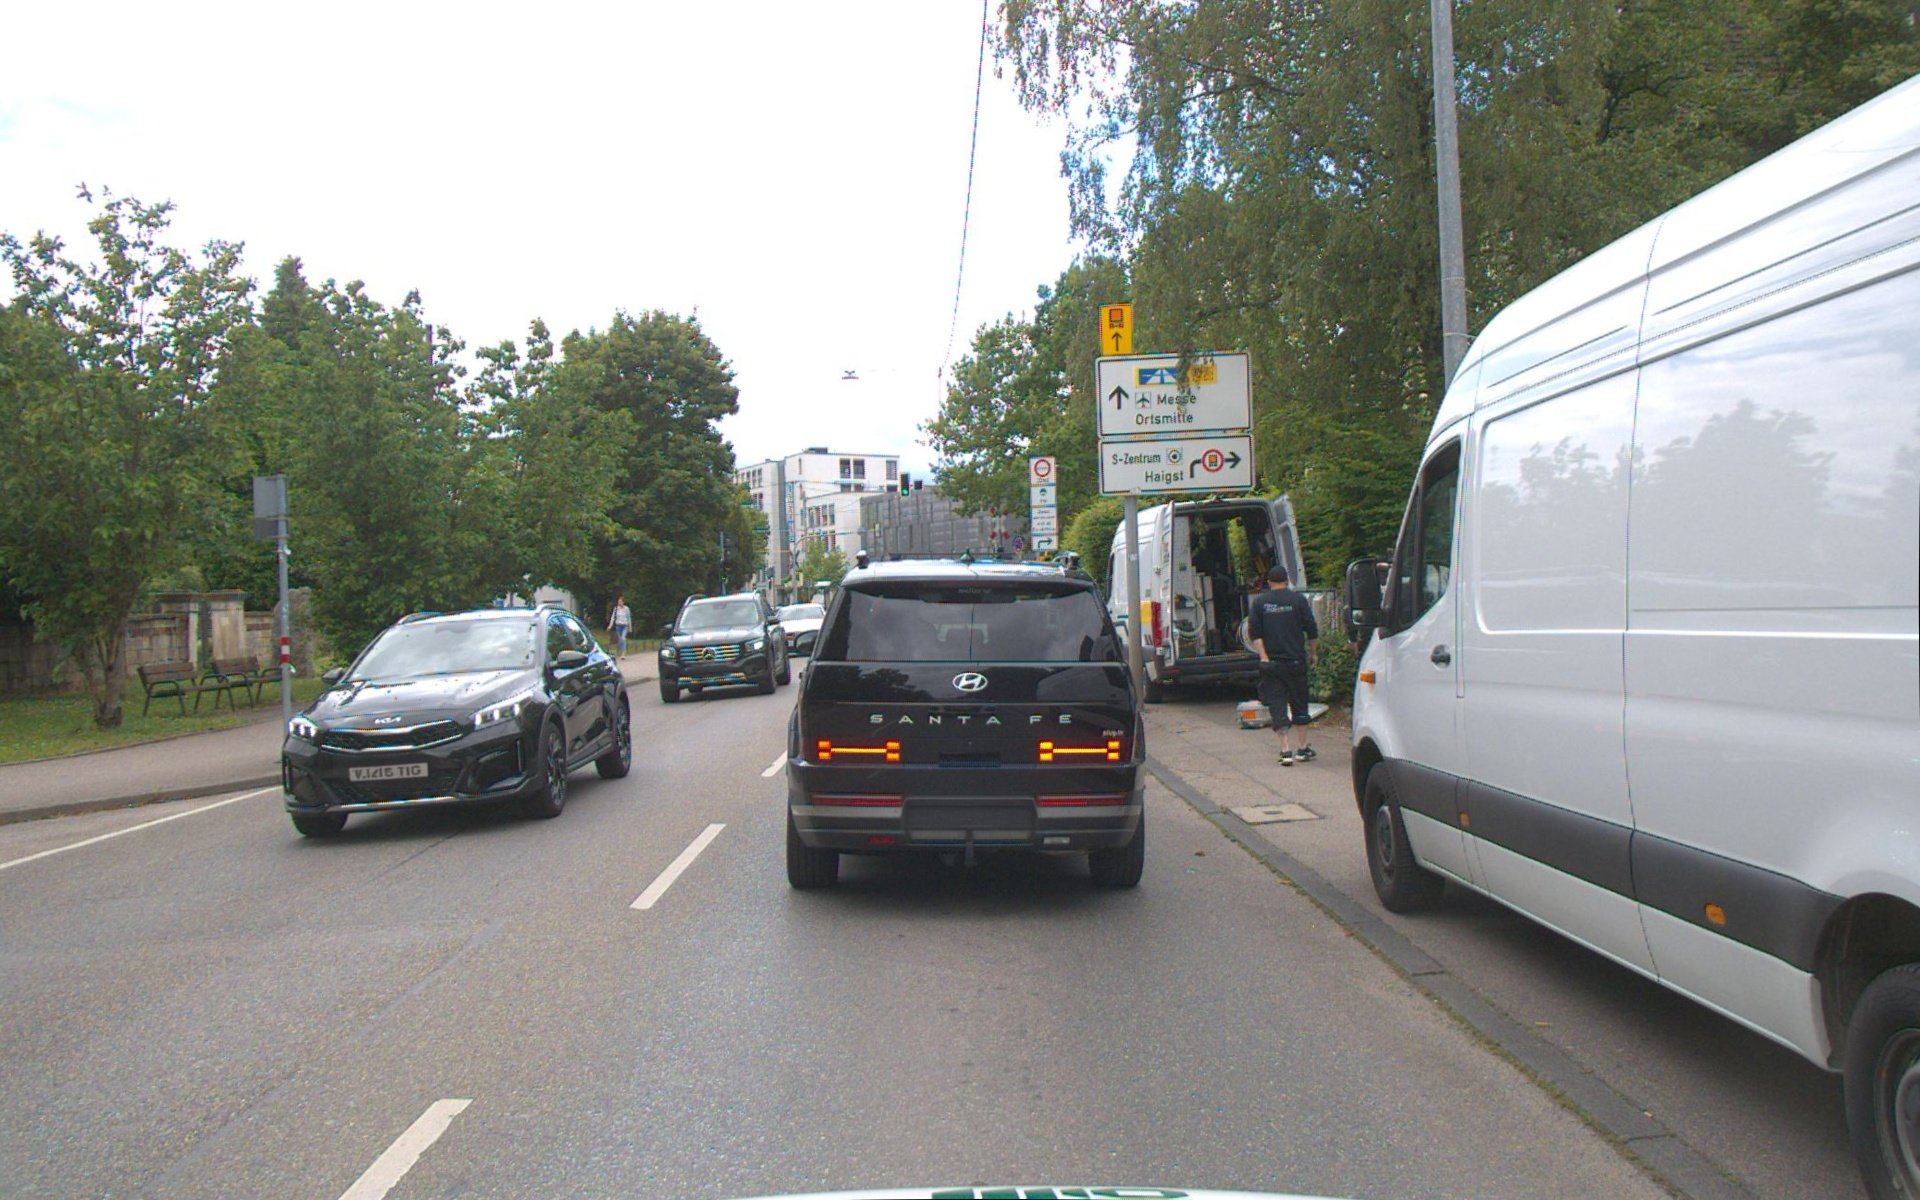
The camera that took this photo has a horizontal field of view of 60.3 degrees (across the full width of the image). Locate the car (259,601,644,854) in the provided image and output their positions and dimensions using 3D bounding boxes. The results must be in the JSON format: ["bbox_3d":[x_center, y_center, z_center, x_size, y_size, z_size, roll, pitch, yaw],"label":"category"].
[{"bbox_3d":[-3.628,0.818,12.575,1.666,1.509,3.999,-4,0,-1],"label":"car"}]

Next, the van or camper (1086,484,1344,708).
[{"bbox_3d":[3.354,-0.005,23.394,2.294,2.537,6.600,-5,-1,-1],"label":"van or camper"}]

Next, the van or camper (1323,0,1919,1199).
[{"bbox_3d":[2.944,0.063,5.096,1.951,2.670,6.543,-4,0,-1],"label":"van or camper"}]

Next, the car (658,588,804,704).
[{"bbox_3d":[-3.751,0.721,27.713,1.842,1.673,4.127,-4,0,-1],"label":"car"}]

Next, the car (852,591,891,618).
[{"bbox_3d":[-5.357,0.253,100.497,1.799,1.565,4.270,-1,0,4],"label":"car"}]

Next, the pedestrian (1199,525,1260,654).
[{"bbox_3d":[3.608,-0.137,22.226,0.721,1.672,0.802,-3,-1,8],"label":"pedestrian"}]

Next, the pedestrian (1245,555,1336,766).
[{"bbox_3d":[2.830,0.496,14.160,0.734,1.751,0.792,0,0,12],"label":"pedestrian"}]

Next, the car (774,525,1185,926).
[{"bbox_3d":[0.066,0.588,9.627,1.858,1.807,3.993,1,0,-1],"label":"car"}]

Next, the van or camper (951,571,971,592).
[{"bbox_3d":[0.061,-1.928,170.588,1.760,2.033,3.820,1,0,-4],"label":"van or camper"}]

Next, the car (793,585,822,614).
[{"bbox_3d":[-13.073,-0.035,141.833,2.288,2.356,4.950,-2,0,-7],"label":"car"}]

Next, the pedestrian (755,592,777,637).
[{"bbox_3d":[-8.928,0.663,76.141,0.812,2.049,1.047,1,0,2],"label":"pedestrian"}]

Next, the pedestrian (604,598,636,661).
[{"bbox_3d":[-9.798,0.841,47.711,0.751,1.779,0.904,0,0,-2],"label":"pedestrian"}]

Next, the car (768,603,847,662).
[{"bbox_3d":[-4.270,0.874,46.887,1.778,1.444,4.827,-5,0,-1],"label":"car"}]

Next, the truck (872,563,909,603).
[{"bbox_3d":[-7.171,-1.696,170.208,3.048,3.926,9.607,-2,0,-6],"label":"truck"}]

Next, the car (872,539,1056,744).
[{"bbox_3d":[0.018,0.435,19.124,1.858,2.077,3.993,1,0,-1],"label":"car"}]

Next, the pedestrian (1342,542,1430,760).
[{"bbox_3d":[3.600,0.428,13.954,0.634,1.782,0.655,-2,-1,18],"label":"pedestrian"}]
